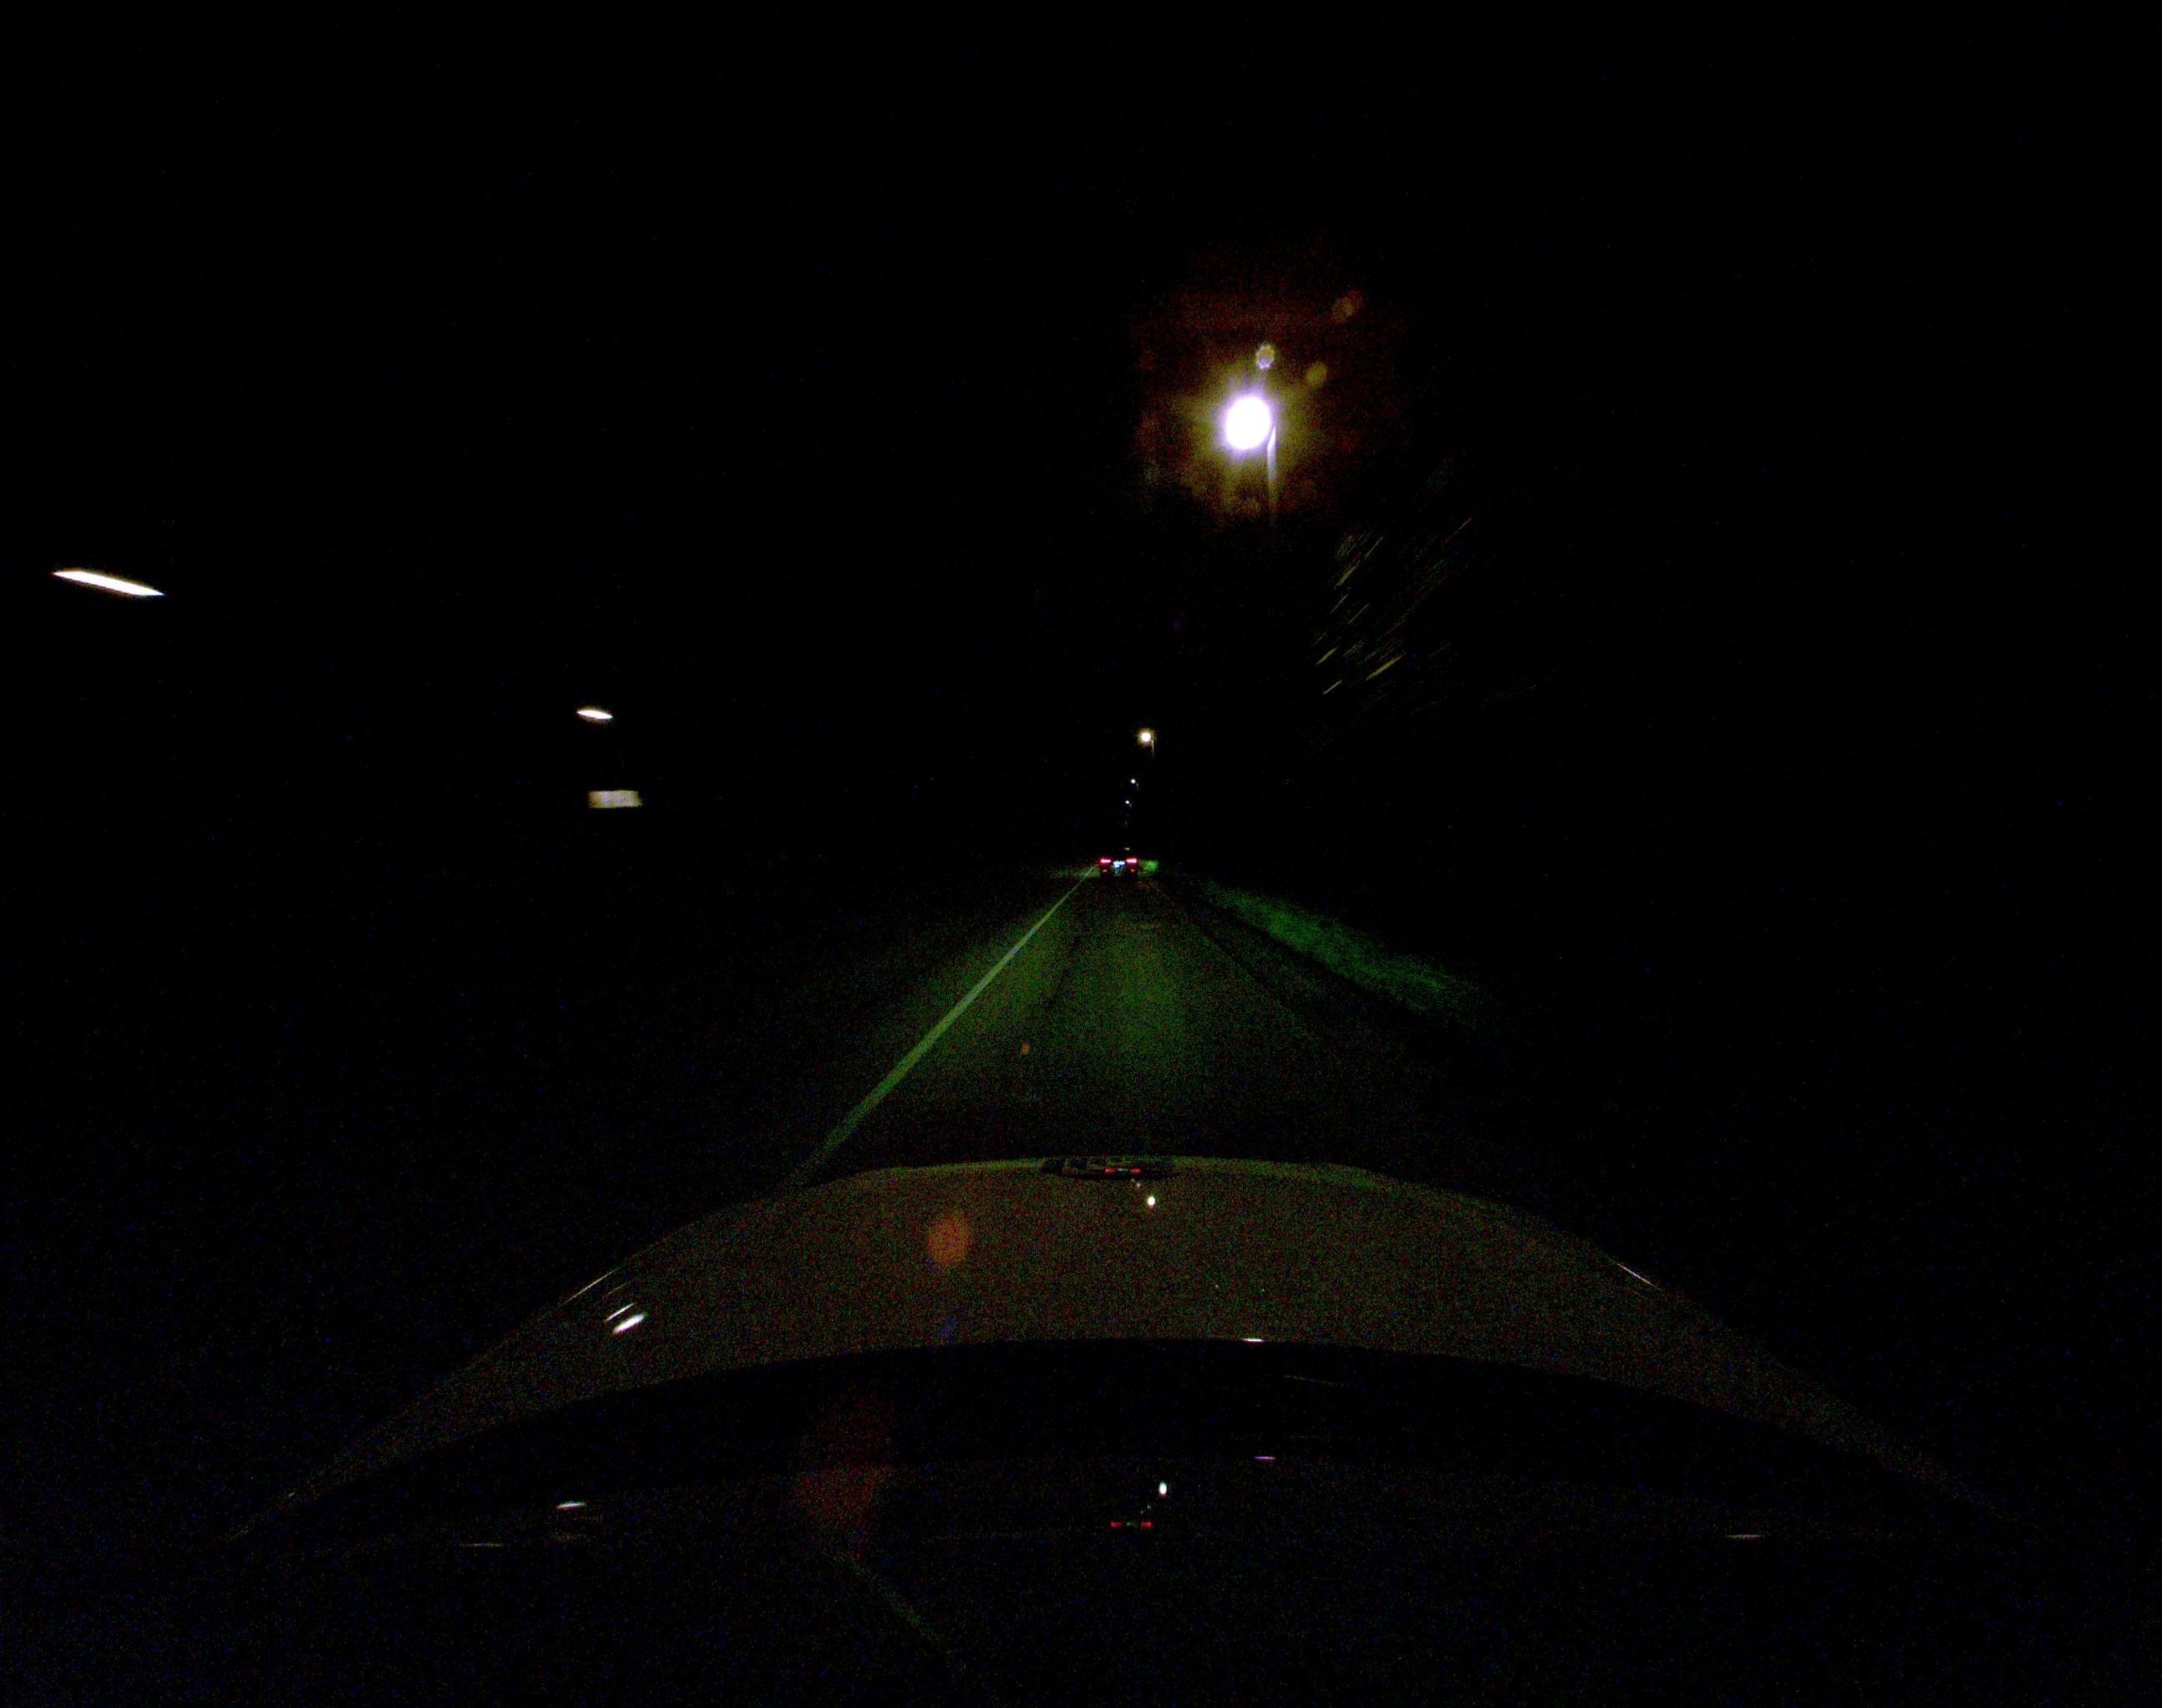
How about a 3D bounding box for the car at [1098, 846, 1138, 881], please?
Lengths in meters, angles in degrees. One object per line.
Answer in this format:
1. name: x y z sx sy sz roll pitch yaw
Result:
1. car: 1.754 0.420 39.845 1.808 1.573 3.944 -1 0 1
